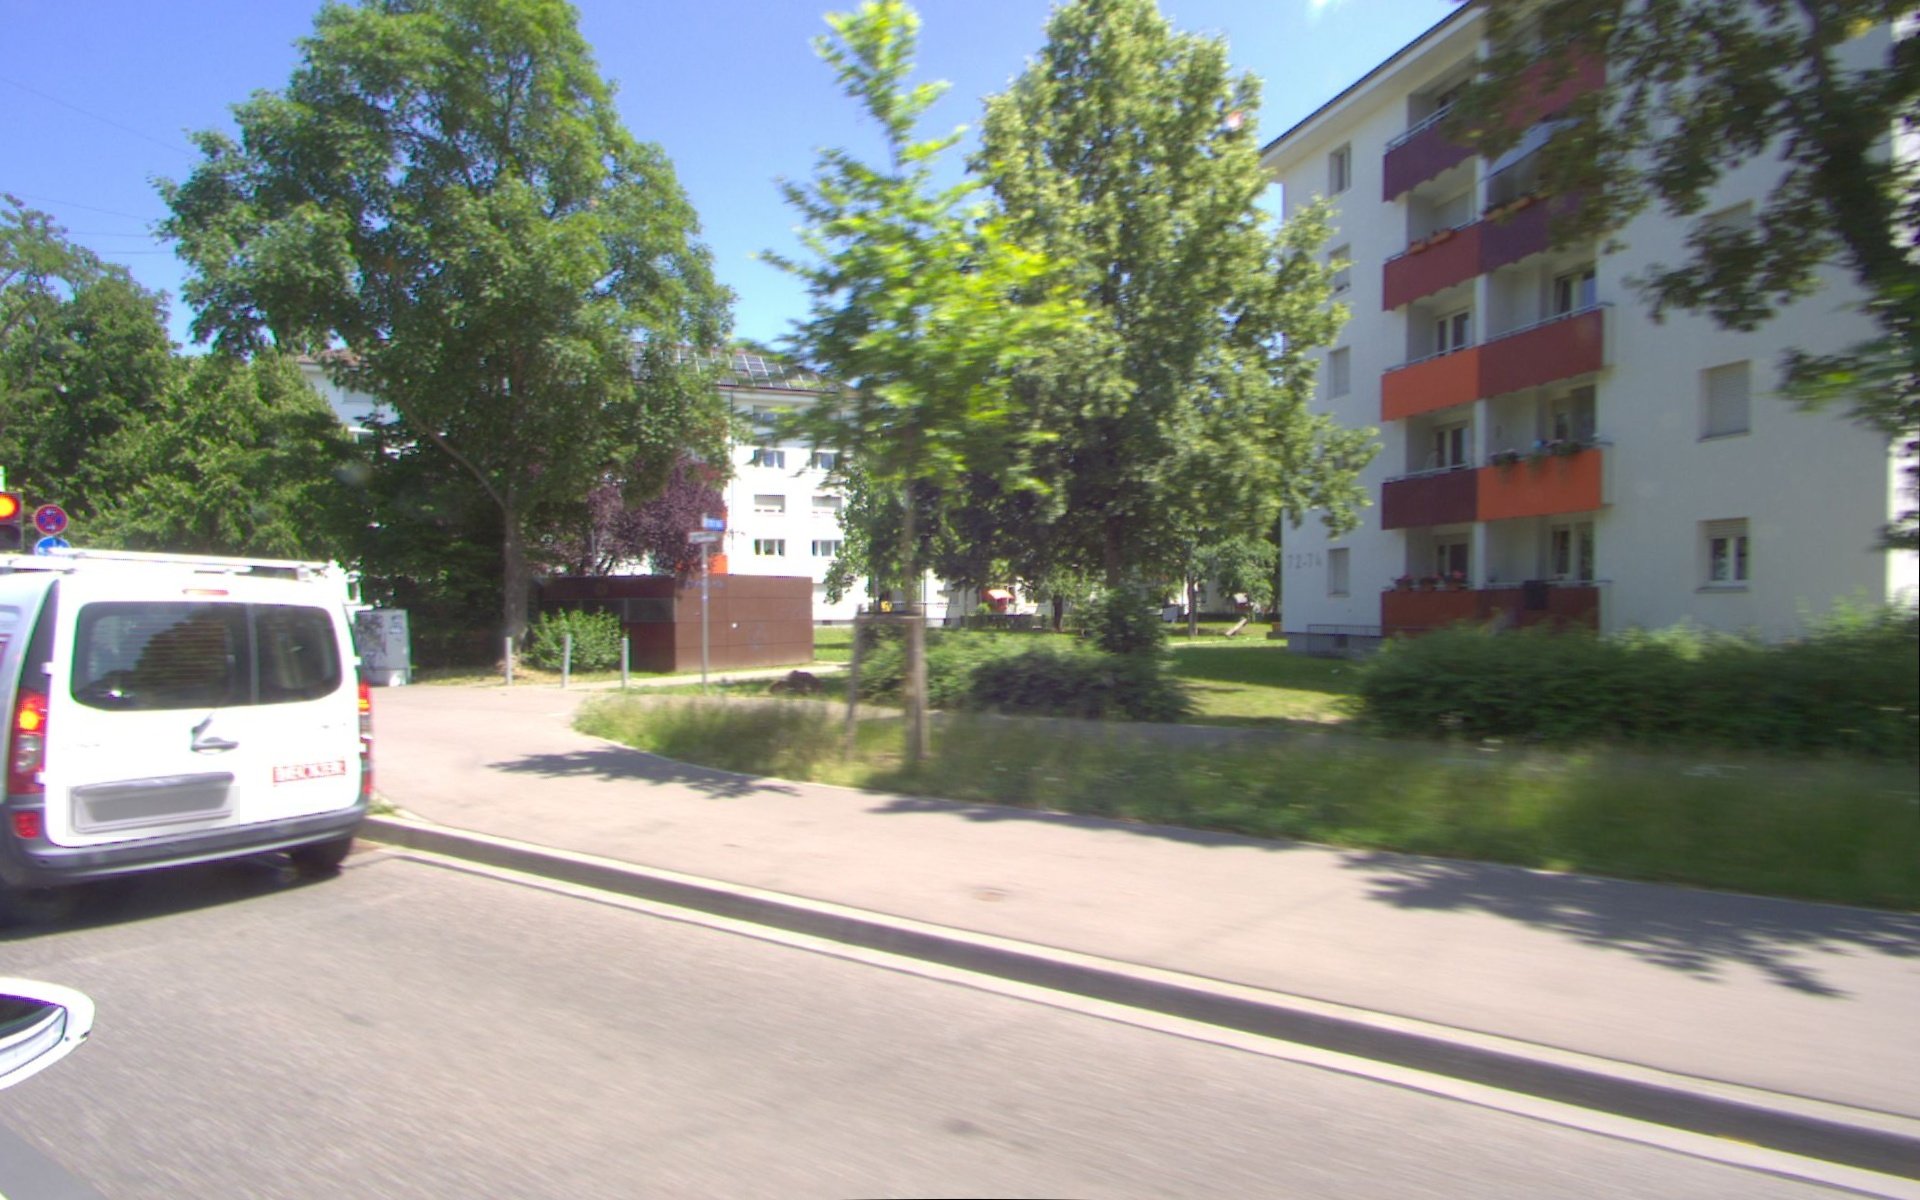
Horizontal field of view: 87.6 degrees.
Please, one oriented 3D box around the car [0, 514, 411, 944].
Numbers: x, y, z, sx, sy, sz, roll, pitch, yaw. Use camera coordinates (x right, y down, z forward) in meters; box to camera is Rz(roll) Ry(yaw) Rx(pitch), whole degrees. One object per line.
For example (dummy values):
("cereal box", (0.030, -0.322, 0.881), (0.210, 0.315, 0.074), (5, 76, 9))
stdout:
("car", (-5.626, 0.607, 6.378), (4.391, 1.906, 1.821), (0, -1, 32))
